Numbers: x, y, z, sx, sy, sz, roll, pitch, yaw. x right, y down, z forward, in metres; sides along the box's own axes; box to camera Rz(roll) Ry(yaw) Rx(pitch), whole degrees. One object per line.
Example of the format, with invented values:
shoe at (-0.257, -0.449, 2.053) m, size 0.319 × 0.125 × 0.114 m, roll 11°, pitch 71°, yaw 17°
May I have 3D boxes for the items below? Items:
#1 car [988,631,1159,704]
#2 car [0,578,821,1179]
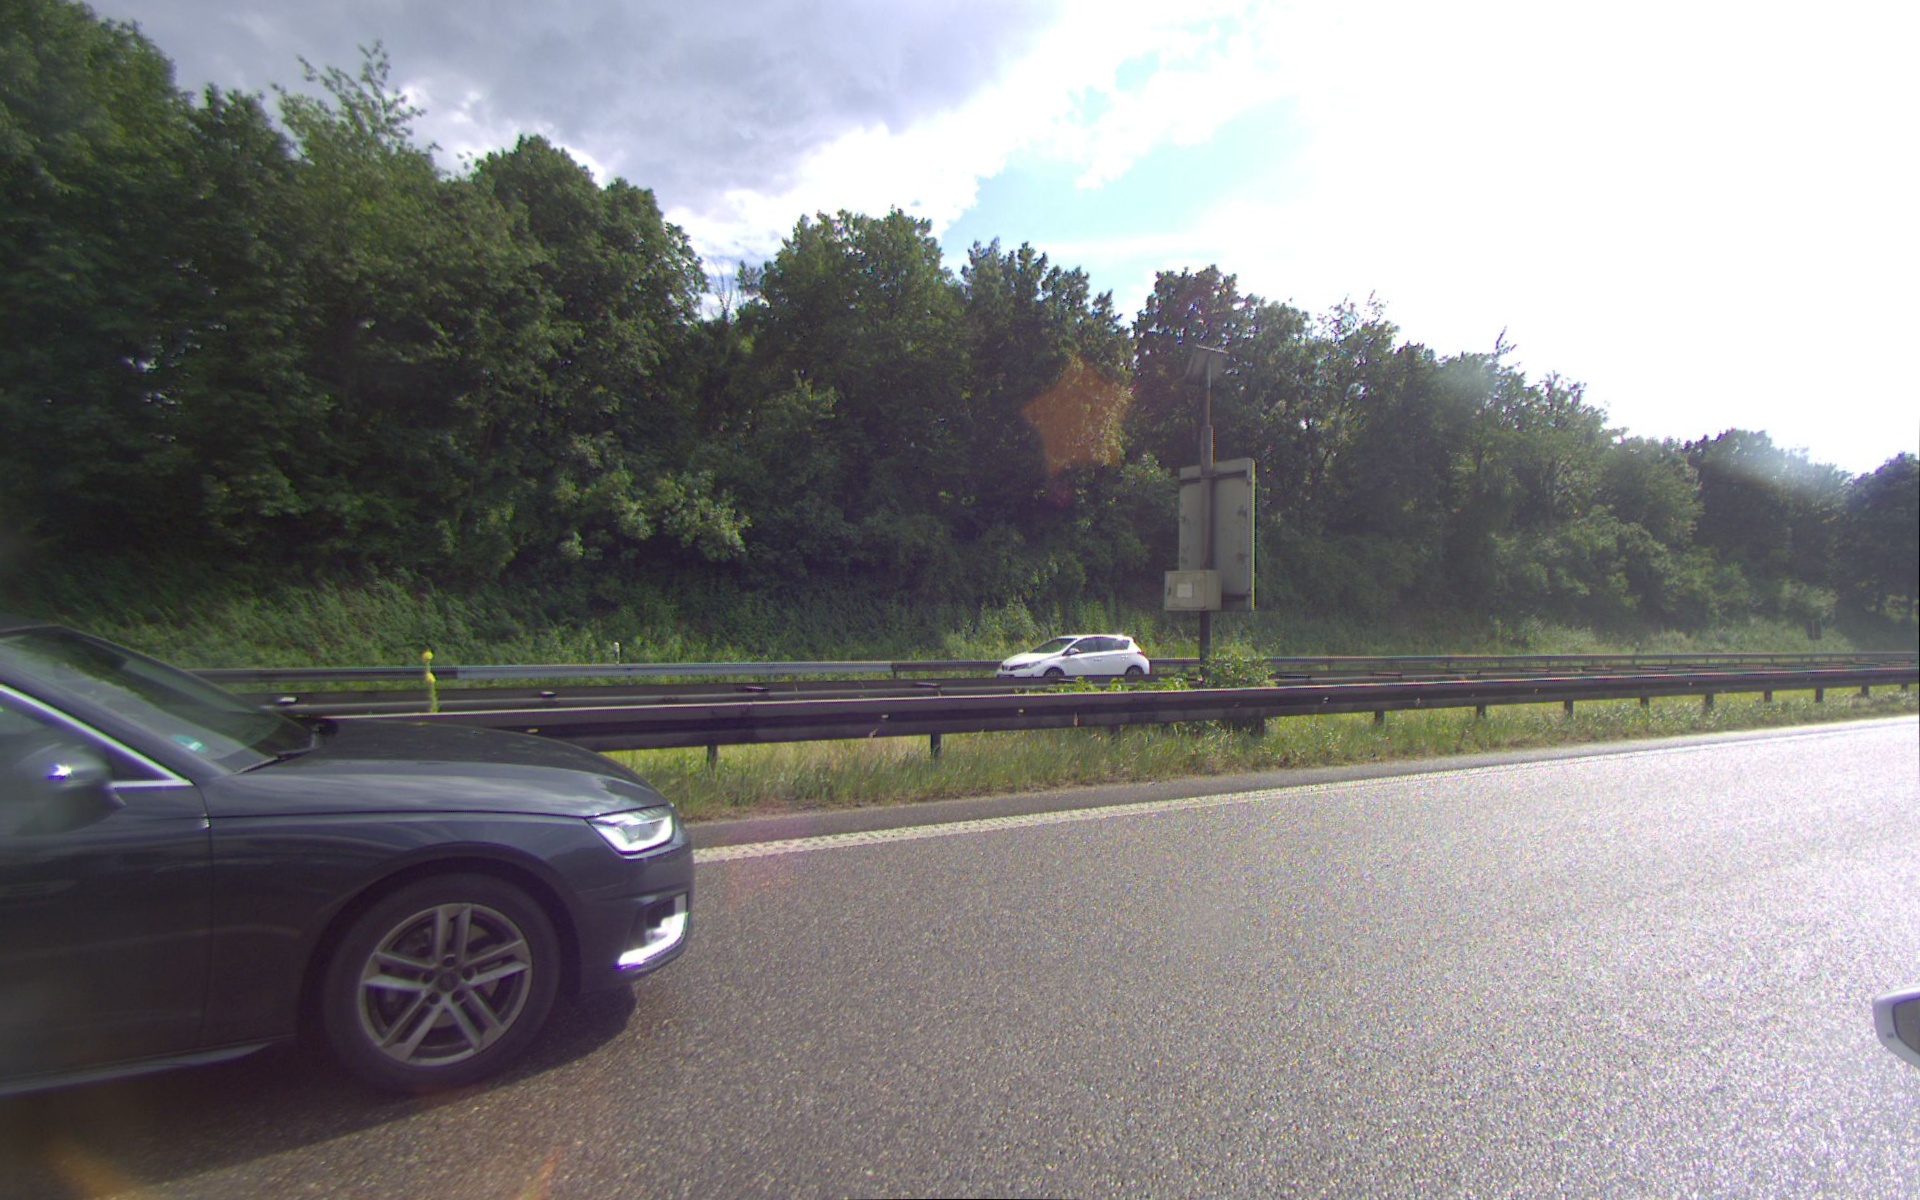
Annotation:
car at (2.948, 1.698, 25.904) m, size 4.188 × 1.685 × 1.722 m, roll 2°, pitch 0°, yaw -31°
car at (-2.991, 0.649, 3.019) m, size 4.782 × 1.437 × 1.786 m, roll 2°, pitch 0°, yaw -30°
